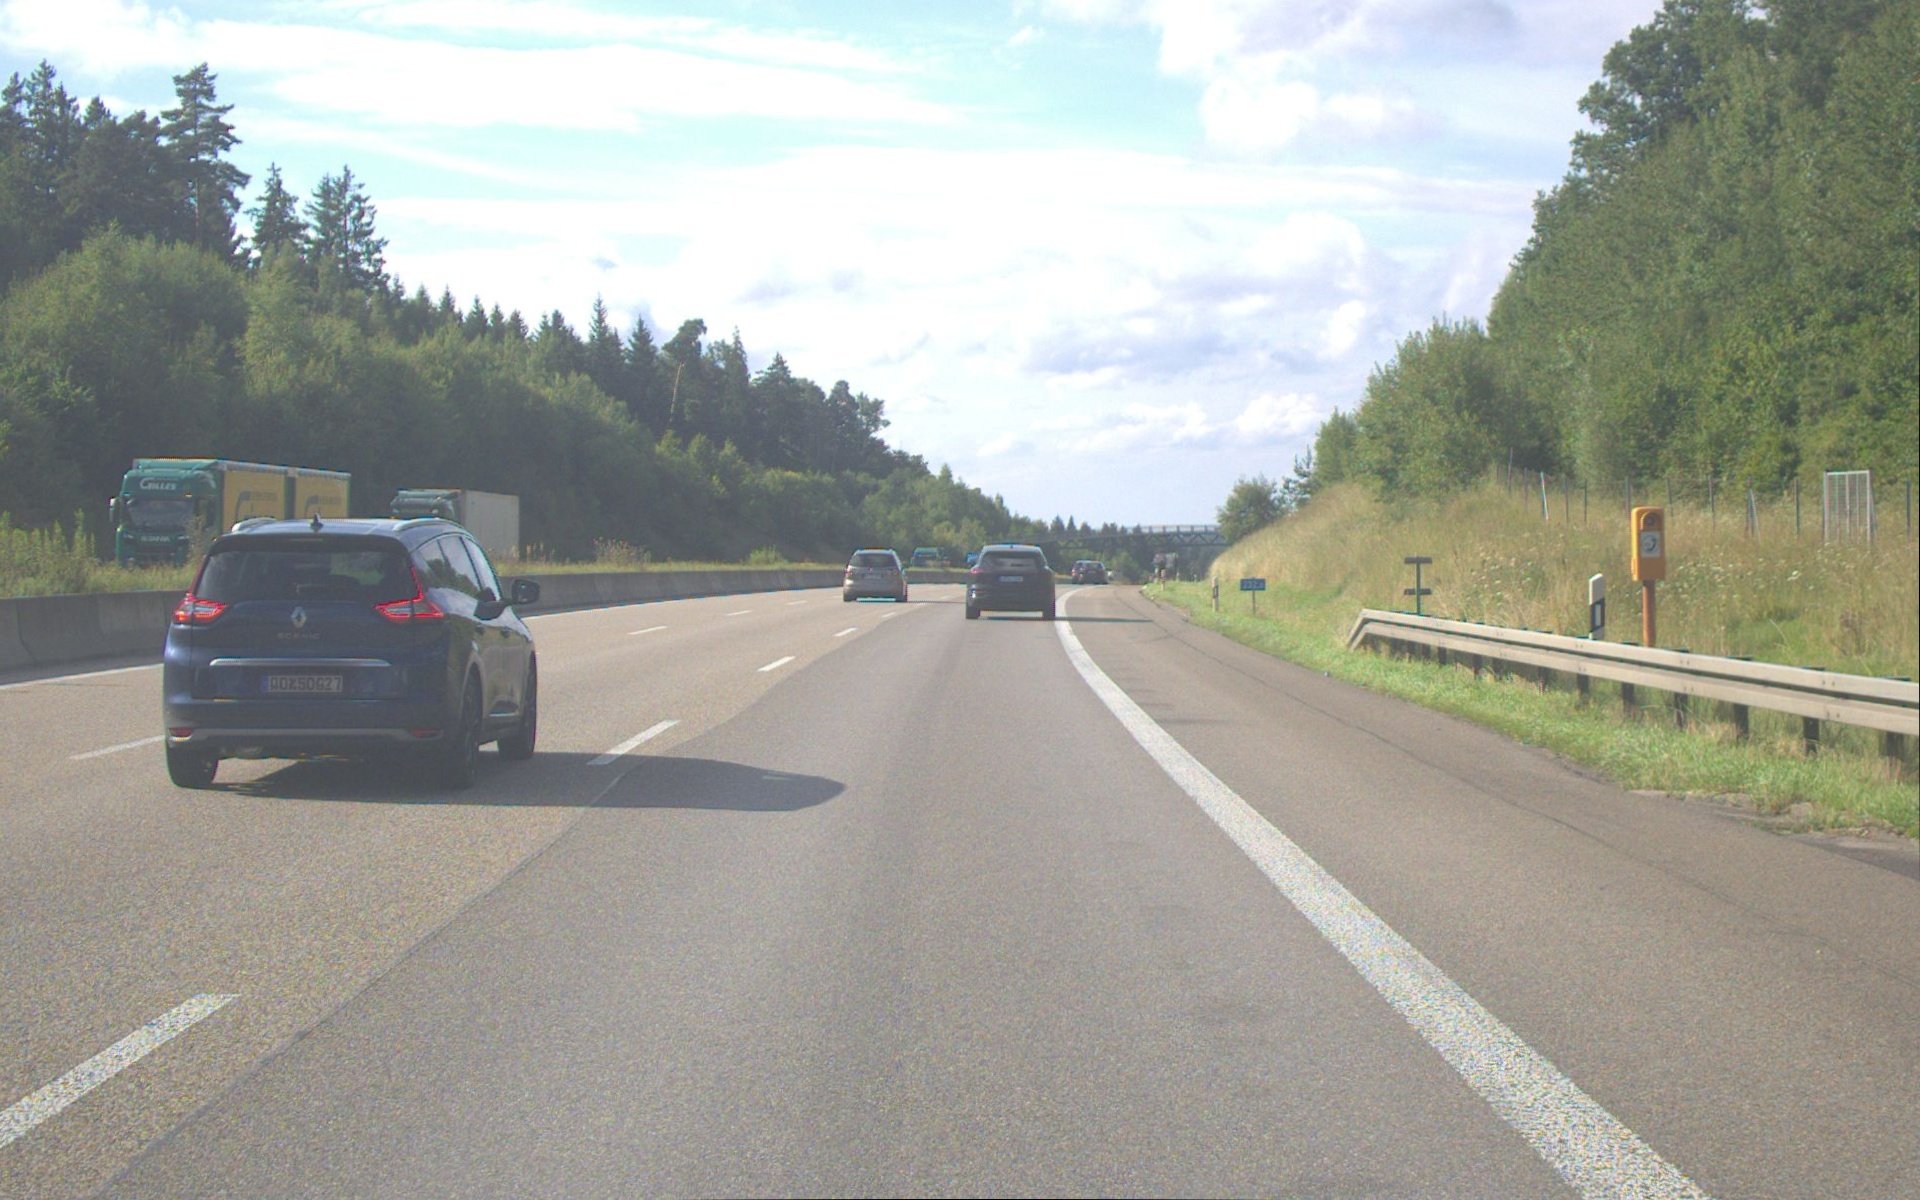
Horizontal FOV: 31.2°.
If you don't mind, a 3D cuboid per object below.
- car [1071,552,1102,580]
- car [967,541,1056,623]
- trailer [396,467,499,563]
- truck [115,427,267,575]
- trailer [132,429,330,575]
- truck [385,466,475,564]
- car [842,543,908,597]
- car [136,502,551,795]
[{"bbox_3d":[8.212,-2.233,223.482,1.812,1.700,4.001,0,2,-1],"label":"car"},{"bbox_3d":[1.122,-0.412,75.267,1.874,1.669,3.890,1,2,1],"label":"car"},{"bbox_3d":[-20.891,-3.456,140.552,2.679,3.705,10.006,1,1,0],"label":"trailer"},{"bbox_3d":[-21.904,-2.808,98.222,2.649,4.072,6.416,1,1,2],"label":"truck"},{"bbox_3d":[-21.710,-2.890,103.289,2.649,4.072,13.201,1,1,2],"label":"trailer"},{"bbox_3d":[-20.873,-3.348,135.559,2.693,3.736,5.170,1,1,0],"label":"truck"},{"bbox_3d":[-2.554,-0.918,102.080,1.873,1.492,3.880,1,2,-2],"label":"car"},{"bbox_3d":[-3.899,0.245,22.496,1.993,1.701,4.529,1,1,-1],"label":"car"}]
